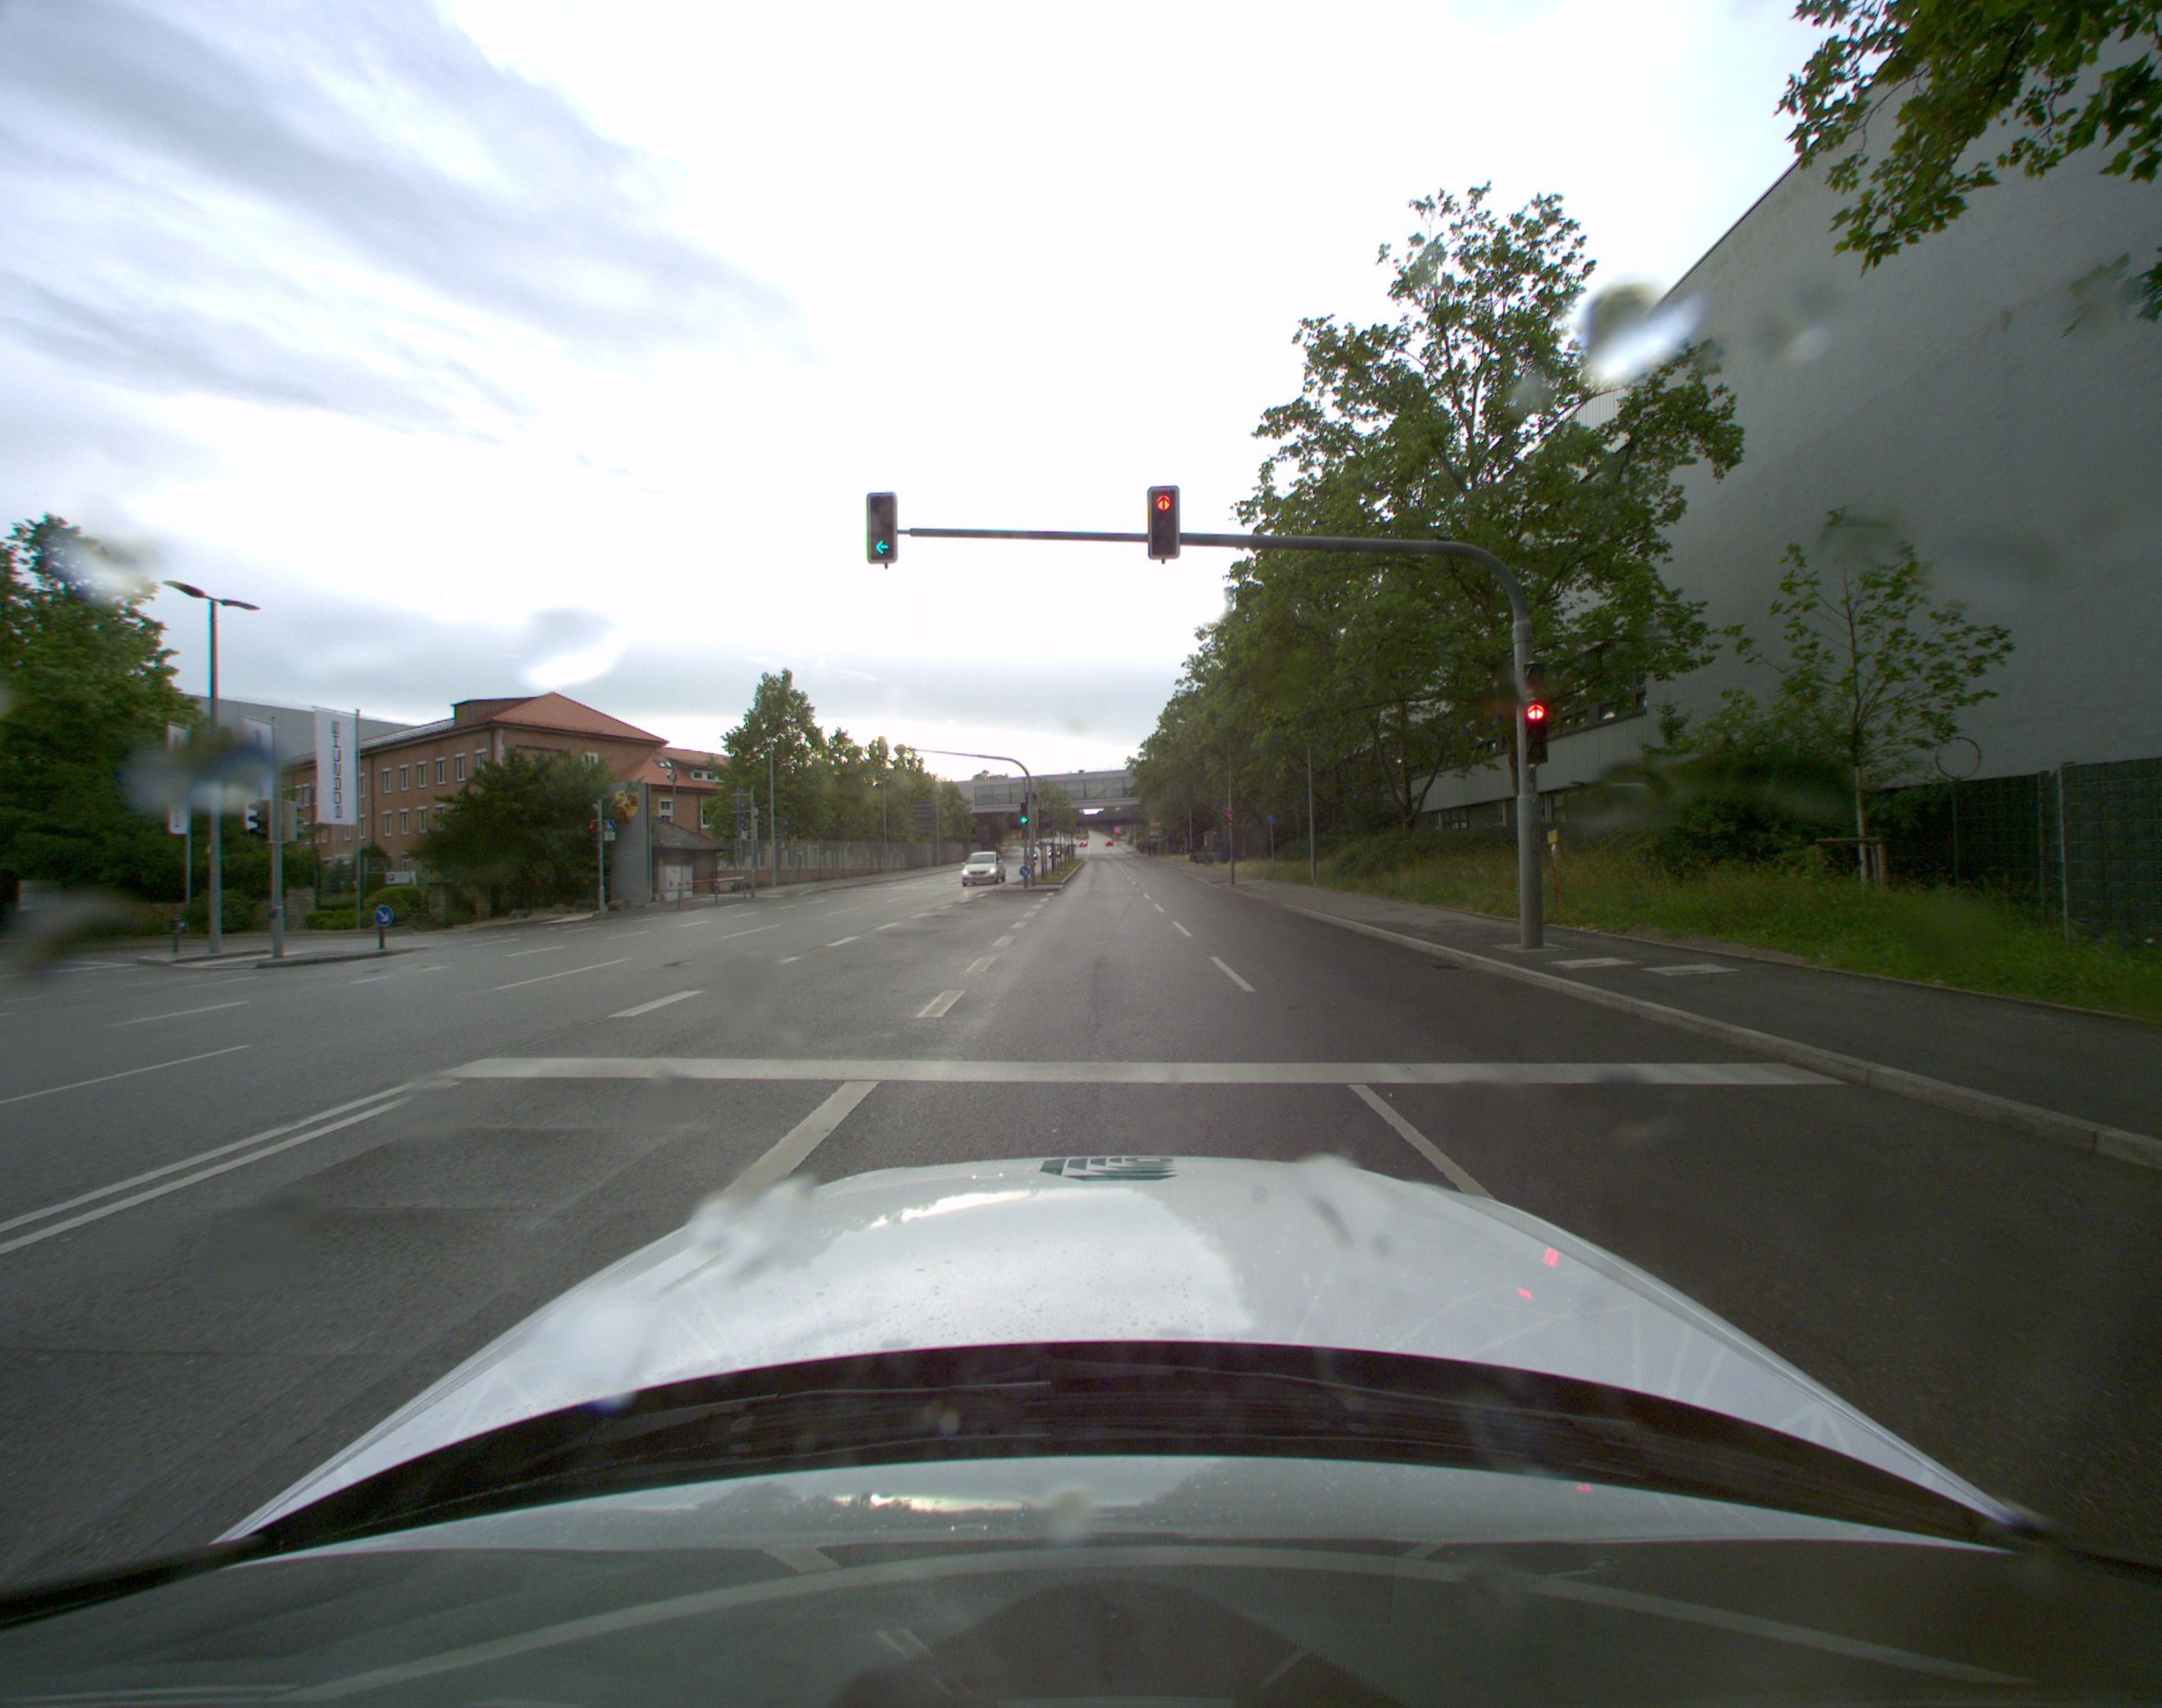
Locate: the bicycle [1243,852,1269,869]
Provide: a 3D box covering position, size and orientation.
[{"bbox_3d":[13.931,0.535,64.782,1.982,1.328,0.576,1,-1,2],"label":"bicycle"}]

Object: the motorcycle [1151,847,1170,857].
[{"bbox_3d":[10.483,-0.283,107.726,2.354,1.202,0.724,-2,0,9],"label":"motorcycle"}]

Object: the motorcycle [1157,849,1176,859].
[{"bbox_3d":[10.818,-0.029,103.156,2.354,1.202,0.724,-2,0,9],"label":"motorcycle"}]

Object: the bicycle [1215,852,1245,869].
[{"bbox_3d":[10.240,0.457,56.011,1.982,1.094,0.541,1,-1,2],"label":"bicycle"}]

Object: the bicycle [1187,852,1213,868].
[{"bbox_3d":[9.440,0.506,64.779,1.982,1.242,0.541,1,-1,2],"label":"bicycle"}]

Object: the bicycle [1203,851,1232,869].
[{"bbox_3d":[9.610,0.410,57.488,1.982,1.216,0.541,1,-1,2],"label":"bicycle"}]

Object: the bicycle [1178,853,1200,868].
[{"bbox_3d":[9.857,0.613,74.260,1.955,1.328,0.654,1,-1,2],"label":"bicycle"}]

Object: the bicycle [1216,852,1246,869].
[{"bbox_3d":[10.220,0.448,55.442,1.982,1.094,0.541,1,-1,2],"label":"bicycle"}]

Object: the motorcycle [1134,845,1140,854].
[{"bbox_3d":[10.044,-0.828,146.326,0.787,1.533,2.376,-2,0,0],"label":"motorcycle"}]

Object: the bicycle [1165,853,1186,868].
[{"bbox_3d":[8.805,0.625,76.014,1.955,1.328,0.654,1,-1,2],"label":"bicycle"}]

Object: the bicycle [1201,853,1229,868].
[{"bbox_3d":[9.713,0.472,59.093,1.982,1.094,0.541,1,-1,2],"label":"bicycle"}]

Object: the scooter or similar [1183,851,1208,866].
[{"bbox_3d":[9.229,0.365,65.565,1.982,1.138,0.541,1,-1,2],"label":"scooter or similar"}]

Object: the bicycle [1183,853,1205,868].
[{"bbox_3d":[9.984,0.580,71.964,1.953,1.328,0.576,1,-1,2],"label":"bicycle"}]

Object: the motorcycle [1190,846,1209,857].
[{"bbox_3d":[14.784,-0.328,101.747,2.354,1.202,0.724,-2,0,9],"label":"motorcycle"}]

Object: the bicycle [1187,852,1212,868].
[{"bbox_3d":[9.972,0.538,68.424,1.982,1.328,0.576,1,-1,2],"label":"bicycle"}]

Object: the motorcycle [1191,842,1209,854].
[{"bbox_3d":[16.065,-0.770,109.768,2.354,1.476,0.724,-2,0,9],"label":"motorcycle"}]

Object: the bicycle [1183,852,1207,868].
[{"bbox_3d":[9.449,0.517,67.495,1.982,1.328,0.576,1,-1,2],"label":"bicycle"}]

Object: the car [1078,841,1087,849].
[{"bbox_3d":[0.401,-2.345,208.652,1.986,1.762,4.002,1,-1,2],"label":"car"}]

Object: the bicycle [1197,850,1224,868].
[{"bbox_3d":[9.834,0.399,61.753,1.982,1.340,0.541,1,-1,2],"label":"bicycle"}]

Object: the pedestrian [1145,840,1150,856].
[{"bbox_3d":[8.498,-0.718,104.158,0.619,2.013,0.606,-2,0,2],"label":"pedestrian"}]

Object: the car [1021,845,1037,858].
[{"bbox_3d":[-7.254,-0.346,114.007,1.870,1.624,3.780,-2,0,2],"label":"car"}]

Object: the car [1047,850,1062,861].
[{"bbox_3d":[-3.923,0.226,121.796,1.870,1.624,3.780,-2,0,2],"label":"car"}]

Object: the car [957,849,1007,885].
[{"bbox_3d":[-4.874,0.625,40.663,1.870,1.624,3.780,-2,0,2],"label":"car"}]

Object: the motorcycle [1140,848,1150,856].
[{"bbox_3d":[10.018,-0.312,127.192,0.792,1.311,2.363,-2,0,-16],"label":"motorcycle"}]

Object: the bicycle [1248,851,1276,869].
[{"bbox_3d":[13.629,0.479,61.352,1.982,1.328,0.576,1,-1,2],"label":"bicycle"}]

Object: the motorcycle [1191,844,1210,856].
[{"bbox_3d":[15.928,-0.517,108.535,2.354,1.476,0.724,-2,0,9],"label":"motorcycle"}]

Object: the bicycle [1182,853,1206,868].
[{"bbox_3d":[9.802,0.571,70.730,1.982,1.328,0.576,1,-1,2],"label":"bicycle"}]

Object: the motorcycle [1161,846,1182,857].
[{"bbox_3d":[10.762,-0.287,96.680,2.354,1.202,0.724,-2,0,9],"label":"motorcycle"}]

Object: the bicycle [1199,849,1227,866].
[{"bbox_3d":[9.799,0.241,60.359,1.982,1.242,0.541,1,-1,2],"label":"bicycle"}]

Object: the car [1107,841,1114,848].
[{"bbox_3d":[7.459,-2.391,204.737,1.868,1.497,4.070,1,-1,2],"label":"car"}]

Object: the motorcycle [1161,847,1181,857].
[{"bbox_3d":[10.884,-0.238,98.793,2.354,1.202,0.724,-2,0,9],"label":"motorcycle"}]

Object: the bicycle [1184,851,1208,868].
[{"bbox_3d":[9.776,0.483,69.165,1.982,1.430,0.723,1,-1,2],"label":"bicycle"}]

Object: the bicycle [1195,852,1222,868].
[{"bbox_3d":[9.762,0.475,62.446,1.982,1.242,0.541,1,-1,2],"label":"bicycle"}]

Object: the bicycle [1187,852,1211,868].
[{"bbox_3d":[10.105,0.552,70.011,1.982,1.328,0.576,1,-1,2],"label":"bicycle"}]

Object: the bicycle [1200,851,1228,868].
[{"bbox_3d":[9.750,0.416,59.675,1.982,1.233,0.541,1,-1,2],"label":"bicycle"}]

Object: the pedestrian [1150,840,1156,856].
[{"bbox_3d":[9.166,-0.733,103.842,0.619,2.013,0.606,-2,0,2],"label":"pedestrian"}]

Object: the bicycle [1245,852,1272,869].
[{"bbox_3d":[13.875,0.515,63.536,1.982,1.328,0.576,1,-1,2],"label":"bicycle"}]

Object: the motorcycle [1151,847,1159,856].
[{"bbox_3d":[11.093,-0.319,122.065,0.789,1.311,2.371,-2,0,-7],"label":"motorcycle"}]
